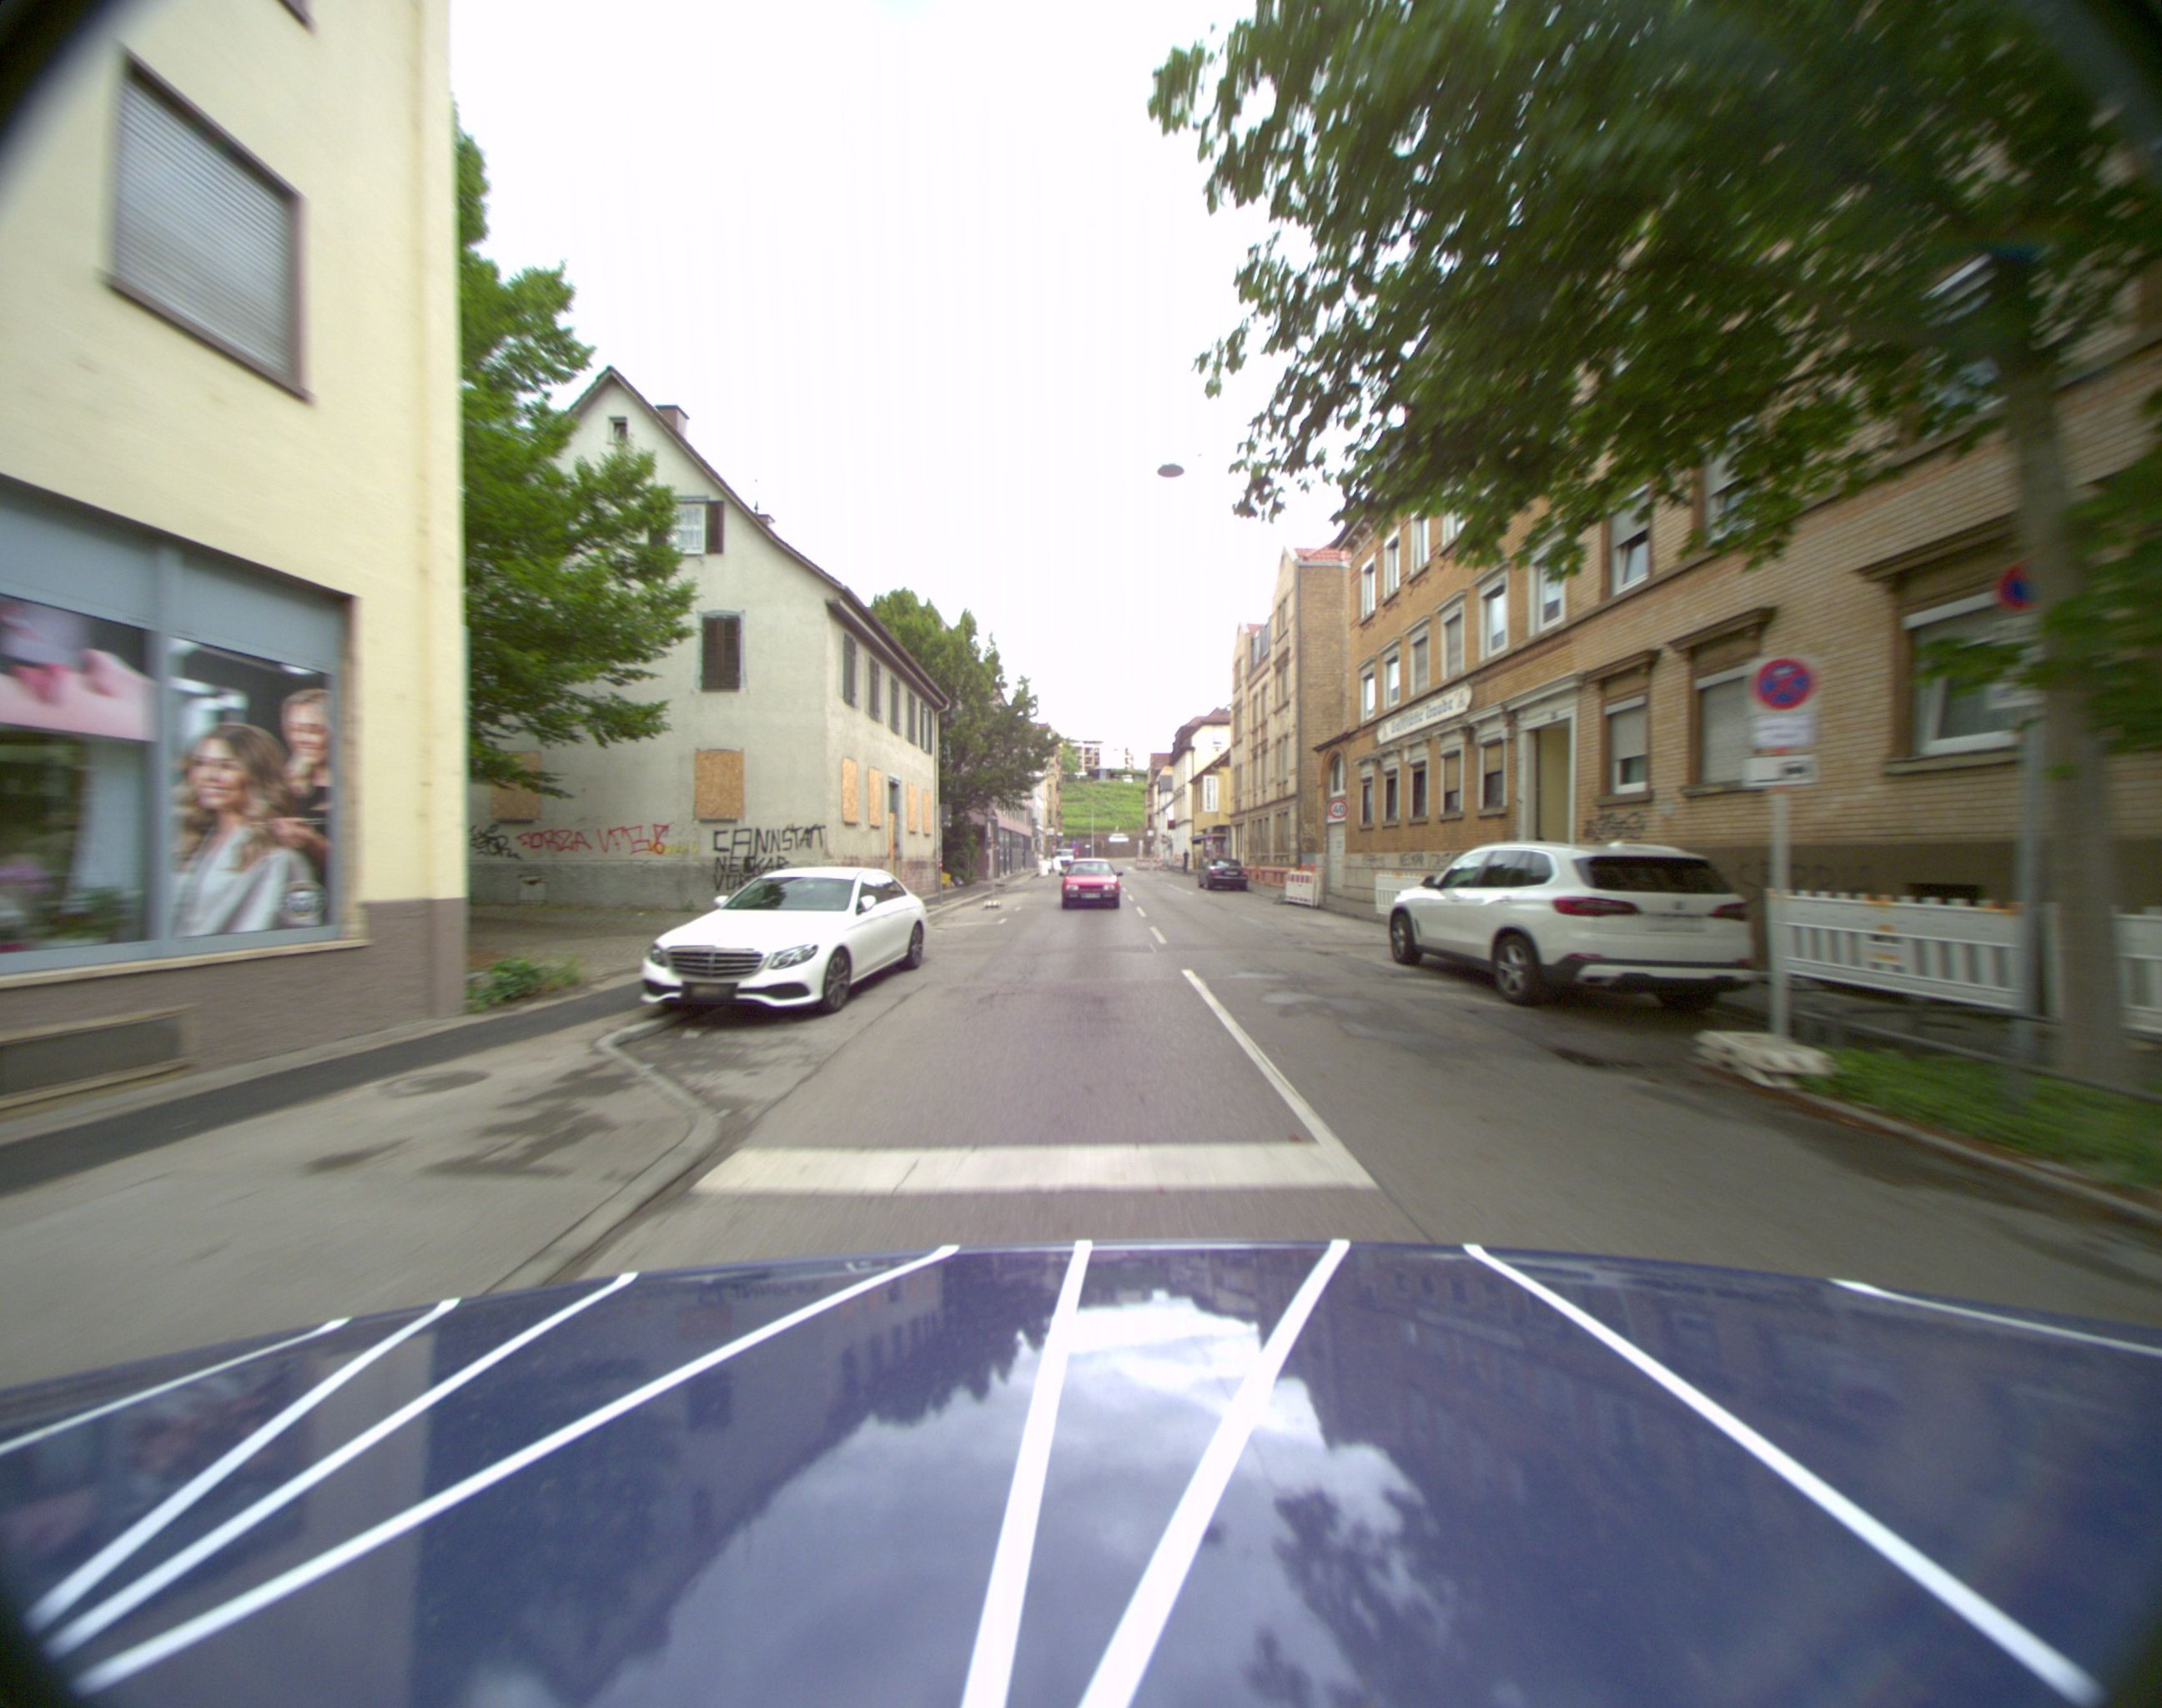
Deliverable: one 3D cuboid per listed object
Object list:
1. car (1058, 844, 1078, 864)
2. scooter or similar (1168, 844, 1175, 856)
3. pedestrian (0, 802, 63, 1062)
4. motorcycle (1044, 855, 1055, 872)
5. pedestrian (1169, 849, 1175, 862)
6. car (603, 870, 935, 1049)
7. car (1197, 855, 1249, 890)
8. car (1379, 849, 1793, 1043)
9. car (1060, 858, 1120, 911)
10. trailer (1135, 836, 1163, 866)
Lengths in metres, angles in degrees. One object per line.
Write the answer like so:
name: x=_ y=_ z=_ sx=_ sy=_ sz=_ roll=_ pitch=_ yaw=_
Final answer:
car: x=-1.308 y=-0.044 z=80.042 sx=1.998 sy=1.970 sz=4.877 roll=0 pitch=1 yaw=0
scooter or similar: x=10.459 y=-0.459 z=87.820 sx=0.561 sy=1.283 sz=1.227 roll=-1 pitch=2 yaw=1
pedestrian: x=-6.524 y=0.458 z=4.484 sx=0.373 sy=1.522 sz=0.419 roll=-1 pitch=2 yaw=3
motorcycle: x=-2.383 y=0.732 z=58.047 sx=0.648 sy=1.219 sz=2.337 roll=-1 pitch=1 yaw=1
pedestrian: x=10.471 y=0.173 z=87.837 sx=0.602 sy=1.557 sz=0.607 roll=-1 pitch=2 yaw=1
car: x=-3.277 y=0.998 z=9.220 sx=1.771 sy=1.457 sz=4.784 roll=-1 pitch=1 yaw=4
car: x=6.306 y=0.776 z=34.090 sx=1.582 sy=1.375 sz=4.354 roll=1 pitch=1 yaw=2
car: x=5.493 y=0.818 z=9.249 sx=1.895 sy=1.702 sz=4.741 roll=2 pitch=1 yaw=1
car: x=0.347 y=0.848 z=22.836 sx=1.626 sy=1.387 sz=4.000 roll=0 pitch=1 yaw=3
trailer: x=6.738 y=-0.329 z=76.191 sx=2.450 sy=2.788 sz=6.303 roll=1 pitch=1 yaw=3
